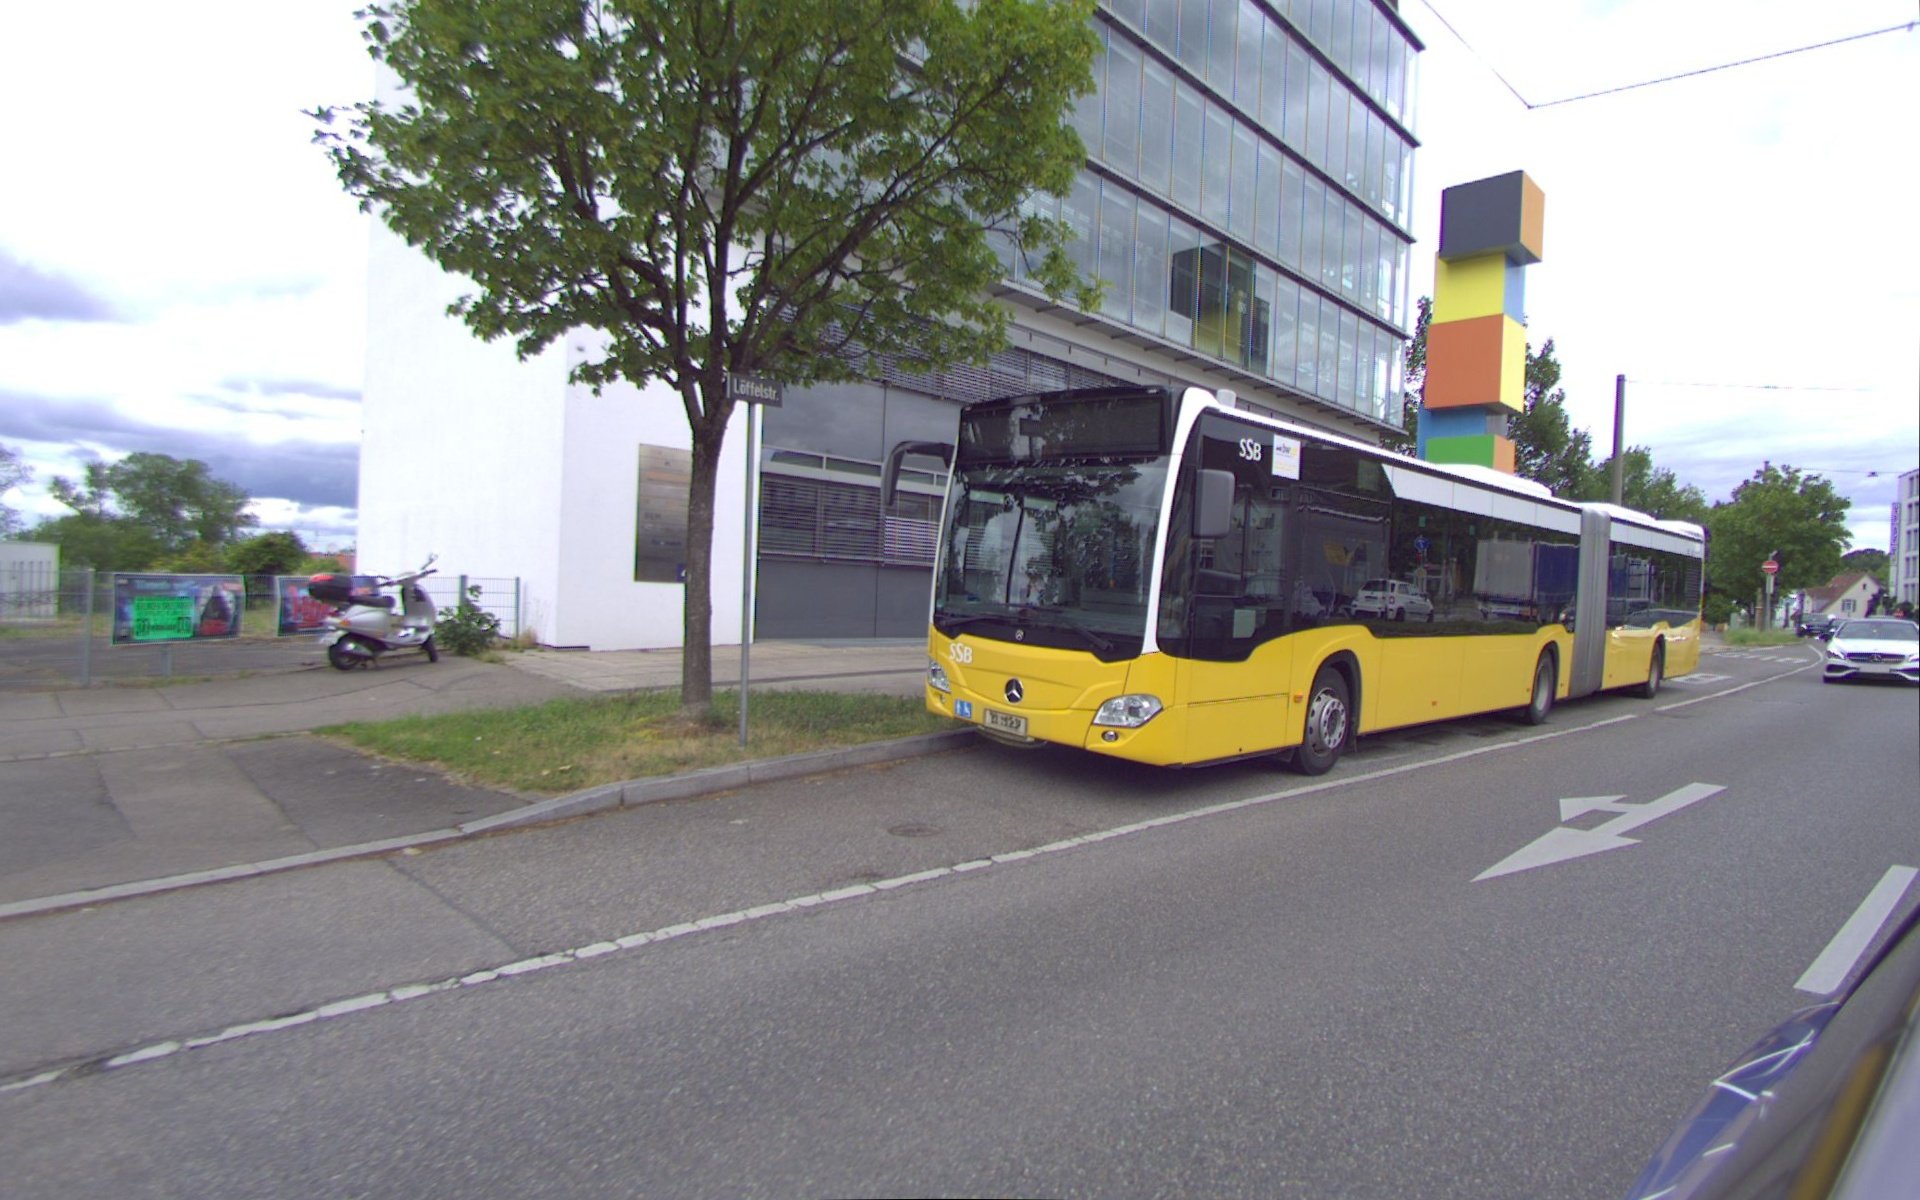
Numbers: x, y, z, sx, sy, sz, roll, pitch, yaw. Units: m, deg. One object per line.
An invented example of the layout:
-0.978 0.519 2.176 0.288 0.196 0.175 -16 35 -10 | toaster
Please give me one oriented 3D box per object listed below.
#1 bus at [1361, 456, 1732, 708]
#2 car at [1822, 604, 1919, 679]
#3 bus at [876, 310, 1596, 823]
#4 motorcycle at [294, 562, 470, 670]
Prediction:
10.488 -0.303 17.447 9.183 3.275 3.039 0 2 -44 | bus
20.832 0.871 22.840 1.864 1.524 4.707 0 0 38 | car
3.804 -0.289 10.953 9.703 3.281 2.985 0 2 -44 | bus
-6.666 0.153 11.777 0.812 1.128 1.735 2 1 13 | motorcycle
